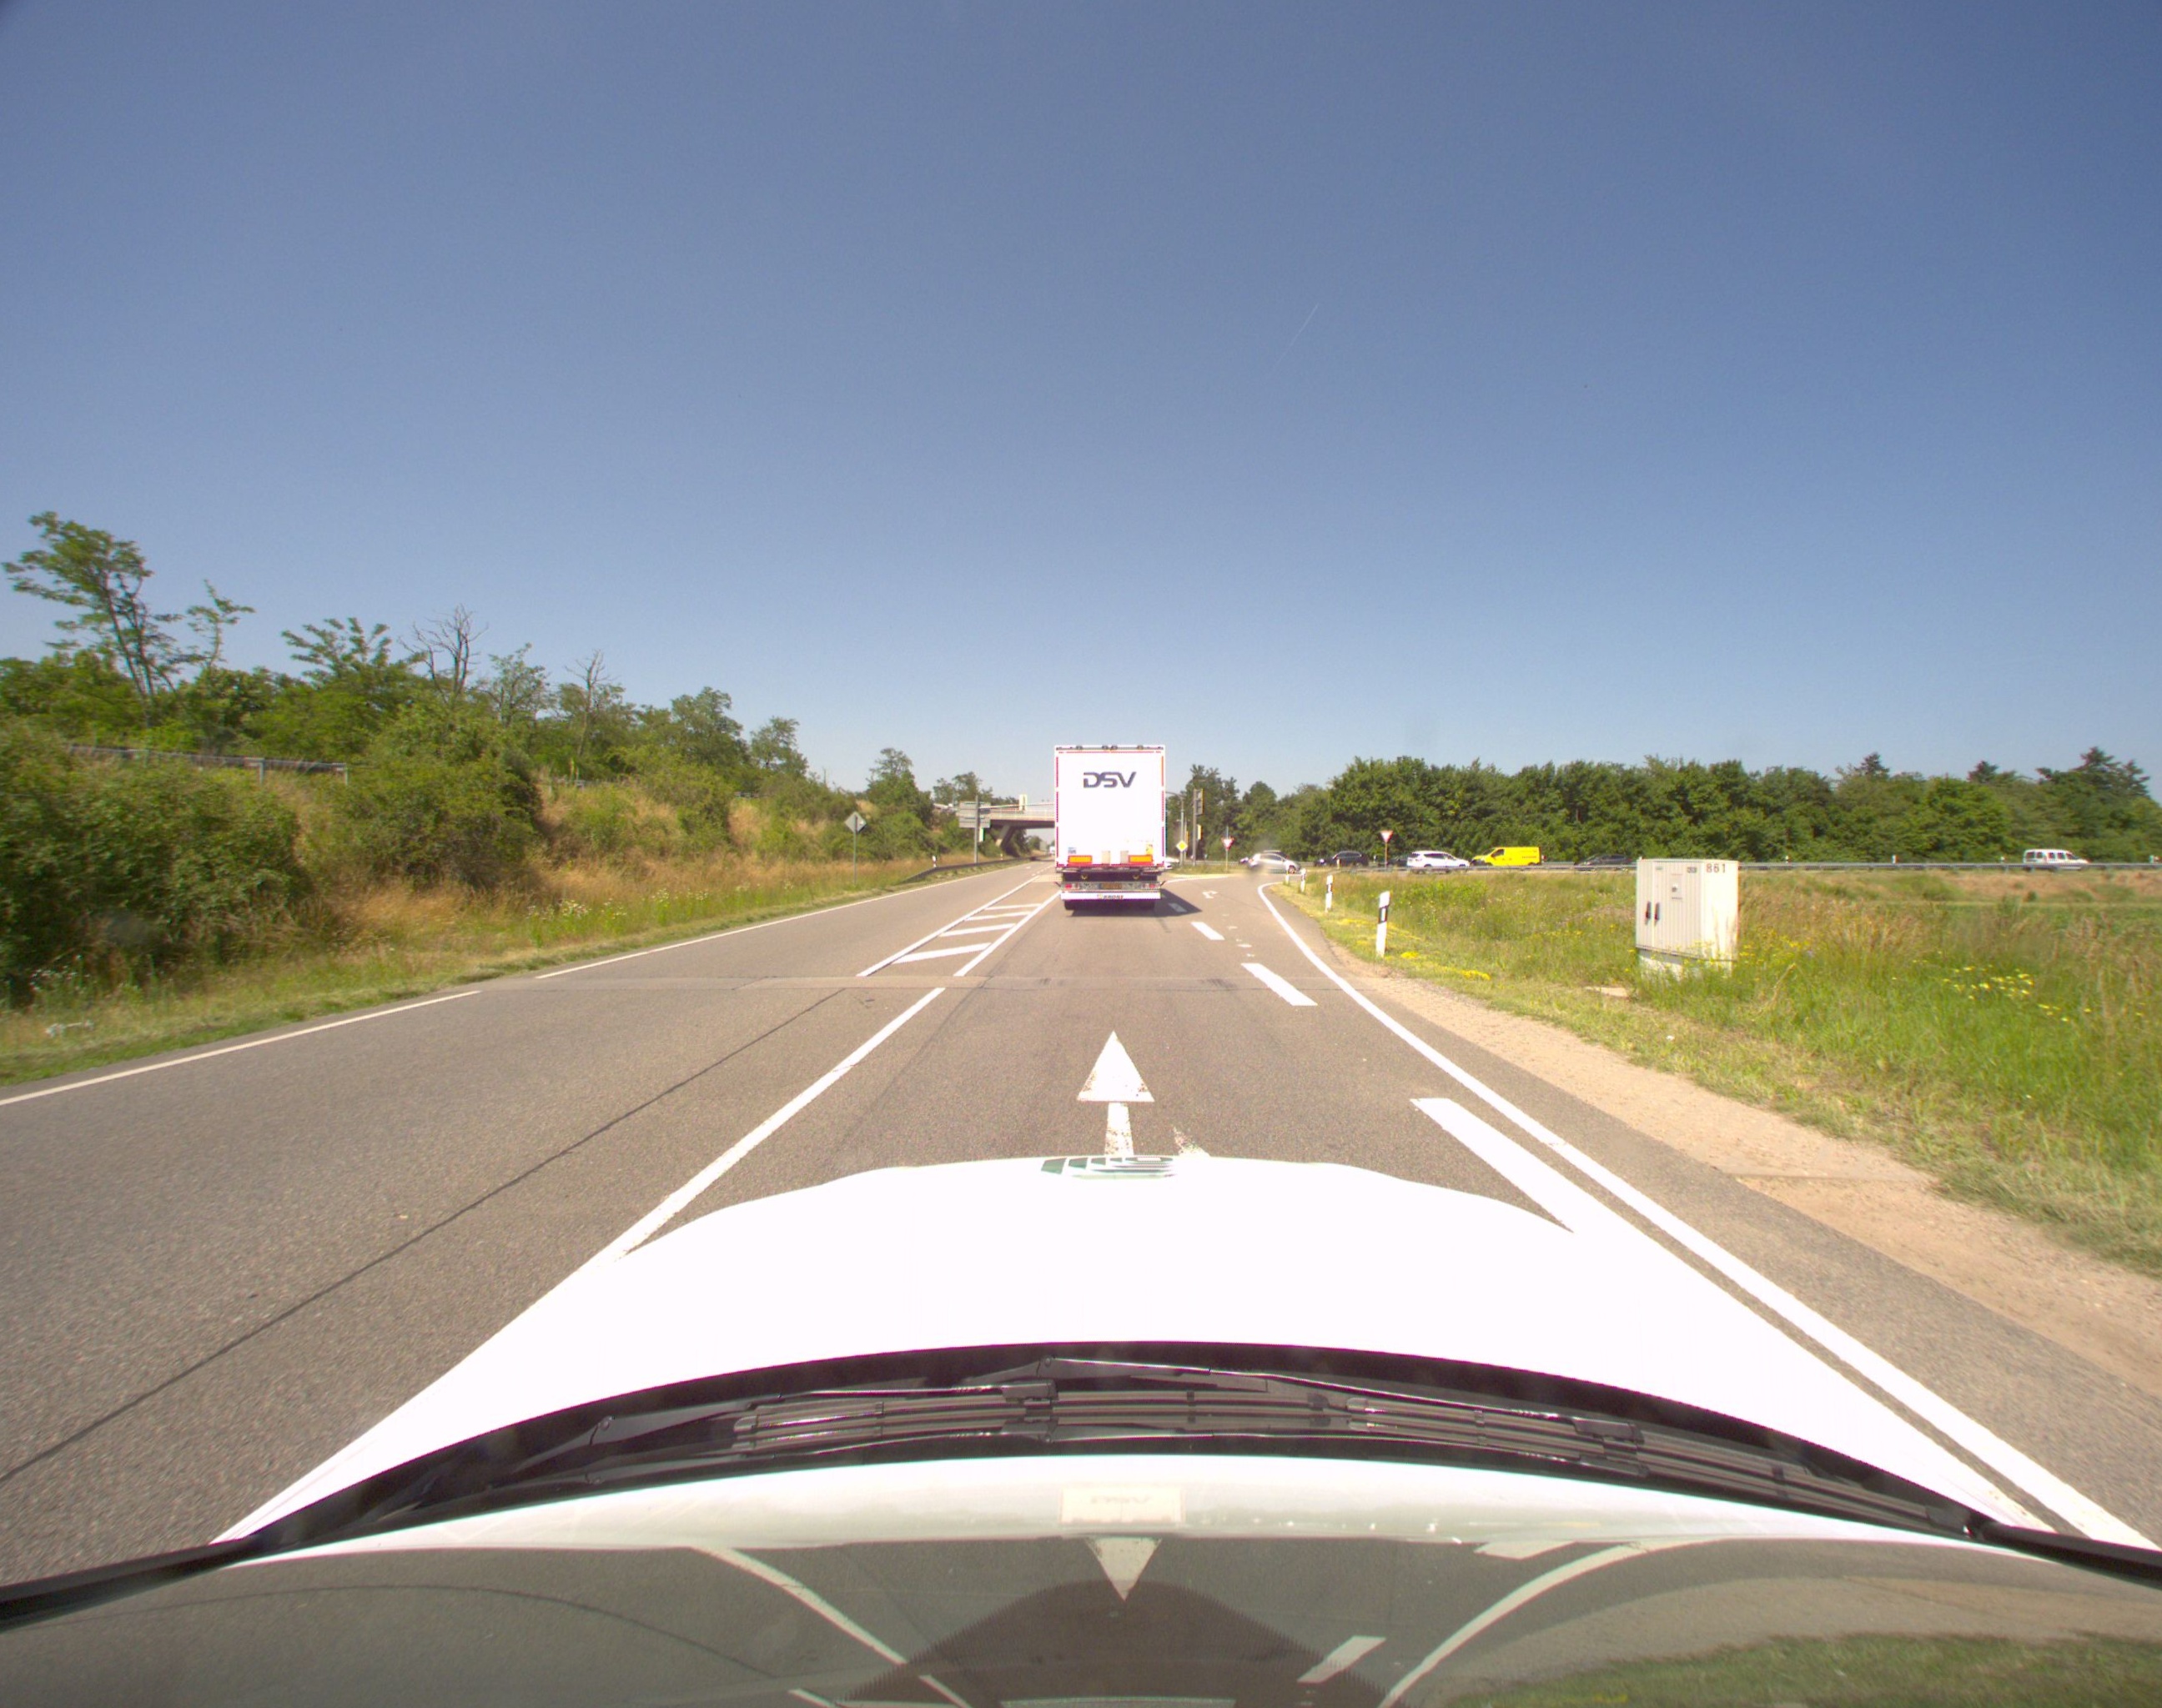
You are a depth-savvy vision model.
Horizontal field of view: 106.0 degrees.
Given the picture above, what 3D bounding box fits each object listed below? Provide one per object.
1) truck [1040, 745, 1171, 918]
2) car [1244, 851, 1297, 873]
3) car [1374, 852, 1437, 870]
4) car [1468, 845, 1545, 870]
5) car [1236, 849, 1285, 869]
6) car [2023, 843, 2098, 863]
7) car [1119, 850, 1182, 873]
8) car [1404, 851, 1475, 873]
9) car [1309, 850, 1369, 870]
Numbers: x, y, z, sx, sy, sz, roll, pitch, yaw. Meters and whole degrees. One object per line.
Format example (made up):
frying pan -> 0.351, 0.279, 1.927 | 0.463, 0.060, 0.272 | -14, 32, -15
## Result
truck -> 0.713, -0.502, 23.555 | 2.976, 3.942, 9.879 | 0, 0, 2
car -> 13.759, 0.580, 59.176 | 3.659, 1.567, 1.744 | 0, -1, 9
car -> 27.367, 0.616, 68.781 | 4.654, 1.514, 1.858 | 0, -1, 9
car -> 34.797, 0.324, 66.731 | 5.300, 2.014, 2.002 | 0, -1, 3
car -> 15.361, 0.436, 69.828 | 3.963, 1.640, 1.845 | 0, -1, 7
car -> 77.295, -0.101, 64.292 | 3.975, 1.569, 1.716 | 0, -1, -1
car -> 5.260, 0.555, 61.319 | 4.433, 1.567, 1.747 | -1, 0, 17
car -> 26.008, 0.542, 59.085 | 4.465, 1.567, 1.735 | 0, -1, -8
car -> 21.393, 0.520, 67.586 | 4.465, 1.598, 1.770 | 0, -1, 4
